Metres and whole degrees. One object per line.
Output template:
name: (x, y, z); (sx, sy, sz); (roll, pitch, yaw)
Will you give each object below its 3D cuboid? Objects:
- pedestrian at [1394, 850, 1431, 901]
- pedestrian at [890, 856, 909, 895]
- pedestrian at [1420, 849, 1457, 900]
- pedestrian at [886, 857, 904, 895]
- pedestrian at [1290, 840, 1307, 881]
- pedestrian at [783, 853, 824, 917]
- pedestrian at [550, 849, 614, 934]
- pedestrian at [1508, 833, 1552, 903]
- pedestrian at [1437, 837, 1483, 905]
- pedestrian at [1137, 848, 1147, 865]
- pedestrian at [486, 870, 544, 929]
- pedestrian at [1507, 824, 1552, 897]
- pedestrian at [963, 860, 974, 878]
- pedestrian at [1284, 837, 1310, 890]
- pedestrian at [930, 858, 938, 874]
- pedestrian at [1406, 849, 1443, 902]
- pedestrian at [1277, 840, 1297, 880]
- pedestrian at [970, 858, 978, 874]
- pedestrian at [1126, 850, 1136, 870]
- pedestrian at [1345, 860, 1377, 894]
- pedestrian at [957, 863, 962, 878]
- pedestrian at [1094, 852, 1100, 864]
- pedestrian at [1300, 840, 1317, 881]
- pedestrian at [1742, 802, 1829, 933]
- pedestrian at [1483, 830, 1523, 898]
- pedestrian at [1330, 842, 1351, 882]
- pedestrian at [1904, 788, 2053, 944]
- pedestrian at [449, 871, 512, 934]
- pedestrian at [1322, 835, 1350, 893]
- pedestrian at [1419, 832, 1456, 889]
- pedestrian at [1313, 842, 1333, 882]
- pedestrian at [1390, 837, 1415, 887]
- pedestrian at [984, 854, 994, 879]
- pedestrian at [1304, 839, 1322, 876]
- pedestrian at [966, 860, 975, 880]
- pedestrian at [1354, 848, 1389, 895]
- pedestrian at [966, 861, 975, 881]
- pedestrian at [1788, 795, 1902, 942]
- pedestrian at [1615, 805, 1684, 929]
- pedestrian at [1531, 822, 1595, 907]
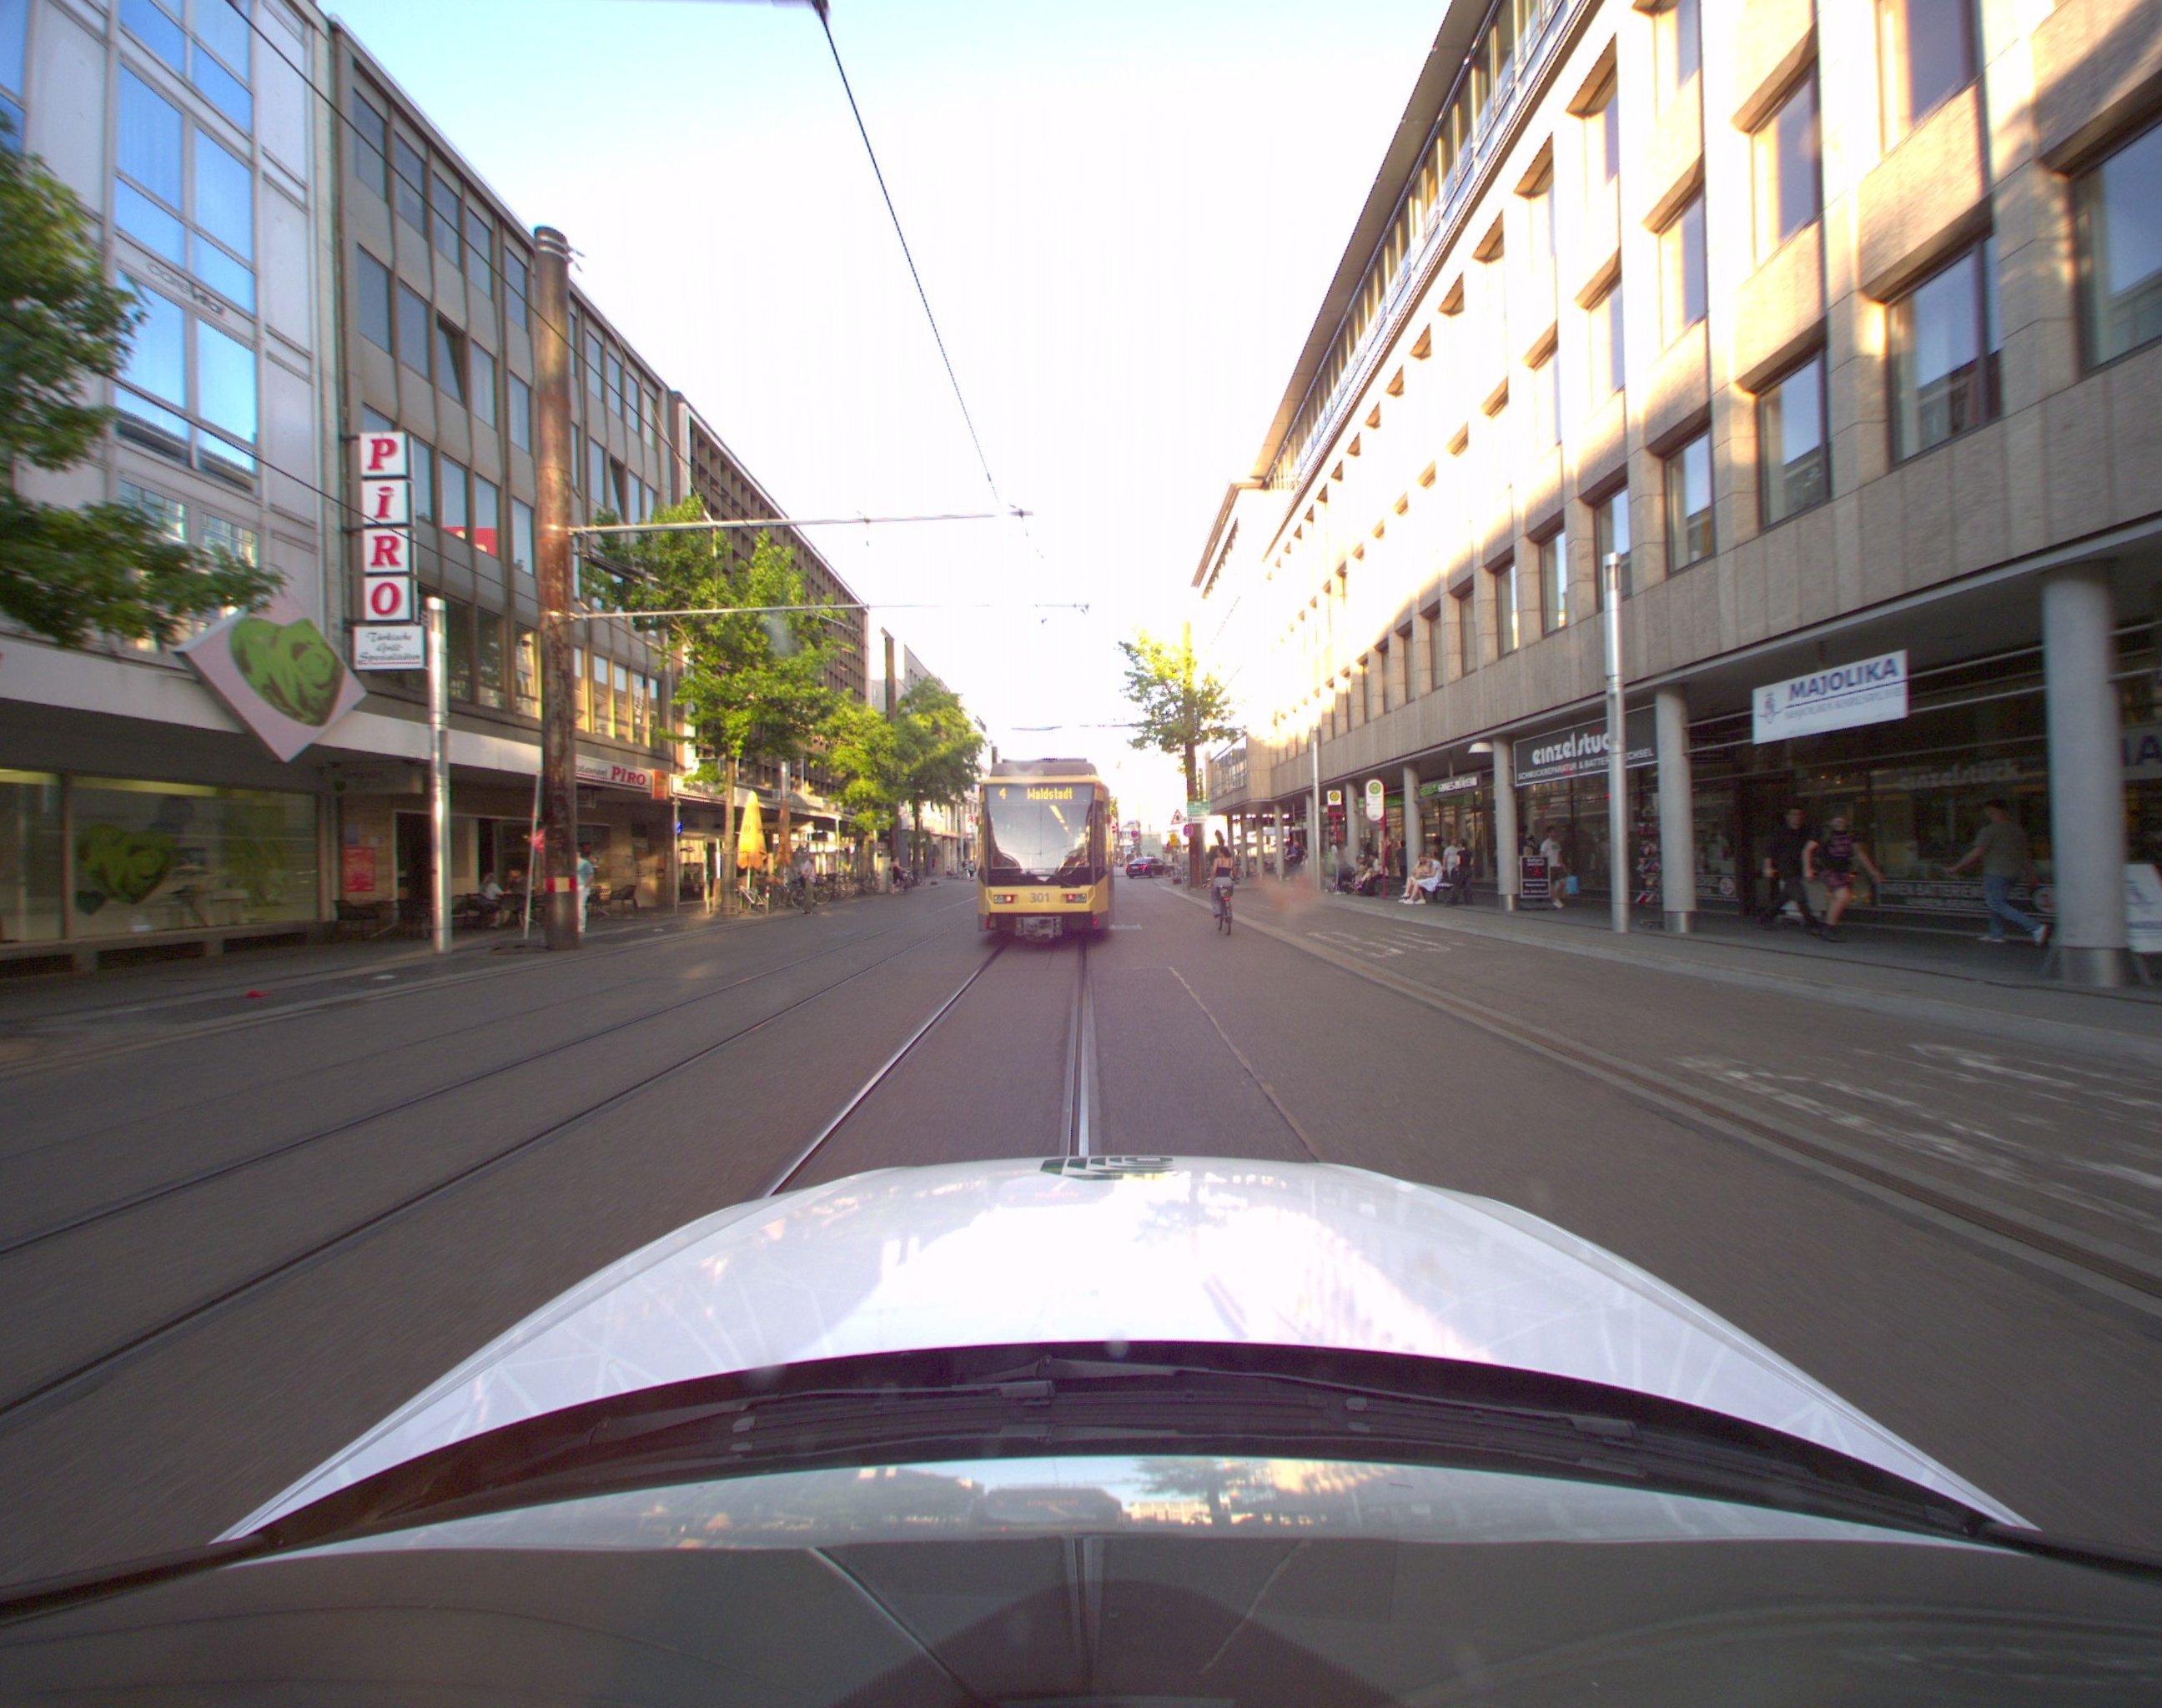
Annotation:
pedestrian: (8.620, 0.551, 21.199); (0.715, 1.314, 0.532); (-1, -1, 2)
pedestrian: (-8.130, 0.954, 36.557); (0.595, 1.699, 0.539); (-1, 0, 29)
pedestrian: (9.359, 0.540, 21.311); (0.715, 1.314, 0.532); (-1, -1, 2)
pedestrian: (-8.452, 1.005, 37.029); (0.595, 1.699, 0.539); (-1, 0, 29)
pedestrian: (9.916, 0.303, 37.206); (0.537, 1.806, 0.604); (-3, -1, -1)
pedestrian: (-7.950, 0.876, 23.319); (0.826, 1.792, 0.979); (-1, -1, -36)
pedestrian: (-10.843, 0.792, 17.729); (0.680, 1.793, 0.992); (1, -1, 6)
pedestrian: (10.967, 0.330, 19.902); (0.645, 1.661, 0.681); (-3, 0, 2)
pedestrian: (9.142, 0.399, 19.658); (0.721, 1.570, 0.736); (-3, -1, 2)
pedestrian: (6.345, 0.267, 84.657); (0.734, 1.823, 0.816); (-1, 0, -14)
pedestrian: (-13.142, 1.043, 18.930); (0.668, 1.325, 0.912); (1, -1, -1)
pedestrian: (11.884, 0.165, 21.602); (0.685, 1.883, 0.773); (-3, -1, -1)
pedestrian: (-9.061, 1.205, 65.534); (0.548, 1.434, 0.689); (-3, -2, 38)
pedestrian: (7.746, 0.342, 29.280); (0.666, 1.839, 0.708); (-3, -1, 0)
pedestrian: (-16.230, 1.278, 89.862); (0.711, 1.725, 0.709); (-2, -1, -1)
pedestrian: (8.704, 0.545, 20.665); (0.715, 1.314, 0.524); (-1, -1, 2)
pedestrian: (9.835, 0.278, 38.970); (0.666, 1.839, 0.880); (-3, -1, 0)
pedestrian: (-11.449, 1.275, 87.281); (0.711, 1.725, 0.709); (-2, -1, -1)
pedestrian: (4.219, 0.503, 68.770); (0.715, 1.725, 0.709); (-2, -1, 1)
pedestrian: (8.794, 0.712, 25.568); (0.810, 1.042, 0.544); (-1, -1, 2)
pedestrian: (-13.171, 1.761, 88.139); (0.508, 1.547, 0.516); (-2, -1, -8)
pedestrian: (2.333, 0.557, 117.817); (0.761, 1.661, 0.797); (-2, 0, 12)
pedestrian: (10.452, 0.296, 37.406); (0.537, 1.806, 0.604); (-3, -1, -1)
pedestrian: (10.586, 0.199, 12.257); (0.614, 1.889, 0.684); (-3, -1, 2)
pedestrian: (11.226, 0.252, 21.667); (0.580, 1.753, 0.773); (-3, -1, -1)
pedestrian: (11.940, 0.355, 37.482); (0.660, 1.787, 0.719); (-3, -1, 1)
pedestrian: (11.531, 0.148, 10.501); (0.841, 1.889, 0.899); (-3, -1, 1)
pedestrian: (-13.065, 1.033, 17.735); (0.668, 1.325, 0.912); (1, -1, -1)
pedestrian: (8.219, 0.322, 26.278); (0.637, 1.839, 0.668); (-3, -1, 1)
pedestrian: (11.388, 0.210, 26.037); (0.770, 1.772, 0.773); (-2, -1, -1)
pedestrian: (11.159, 0.373, 37.562); (0.660, 1.787, 0.719); (-3, -1, 1)
pedestrian: (11.522, 0.282, 29.215); (0.568, 1.731, 0.617); (-3, -1, -1)
pedestrian: (-7.277, 0.997, 64.518); (0.772, 1.926, 0.707); (-2, -1, -8)
pedestrian: (11.825, 0.184, 41.506); (0.659, 1.848, 0.720); (-3, -1, 6)
pedestrian: (-8.484, 1.232, 62.609); (0.683, 1.542, 0.604); (-2, -1, -8)
pedestrian: (8.794, 0.519, 24.683); (0.810, 1.381, 0.662); (-1, -1, 2)
pedestrian: (-8.402, 1.263, 61.913); (0.603, 1.494, 0.554); (-2, -1, -8)
pedestrian: (10.309, 0.194, 11.022); (0.704, 1.889, 0.796); (-3, -1, 1)
pedestrian: (9.288, 0.208, 13.332); (0.576, 1.944, 0.655); (-3, -1, 0)
pedestrian: (10.654, 0.225, 18.029); (0.841, 1.797, 0.859); (-3, -1, 1)
